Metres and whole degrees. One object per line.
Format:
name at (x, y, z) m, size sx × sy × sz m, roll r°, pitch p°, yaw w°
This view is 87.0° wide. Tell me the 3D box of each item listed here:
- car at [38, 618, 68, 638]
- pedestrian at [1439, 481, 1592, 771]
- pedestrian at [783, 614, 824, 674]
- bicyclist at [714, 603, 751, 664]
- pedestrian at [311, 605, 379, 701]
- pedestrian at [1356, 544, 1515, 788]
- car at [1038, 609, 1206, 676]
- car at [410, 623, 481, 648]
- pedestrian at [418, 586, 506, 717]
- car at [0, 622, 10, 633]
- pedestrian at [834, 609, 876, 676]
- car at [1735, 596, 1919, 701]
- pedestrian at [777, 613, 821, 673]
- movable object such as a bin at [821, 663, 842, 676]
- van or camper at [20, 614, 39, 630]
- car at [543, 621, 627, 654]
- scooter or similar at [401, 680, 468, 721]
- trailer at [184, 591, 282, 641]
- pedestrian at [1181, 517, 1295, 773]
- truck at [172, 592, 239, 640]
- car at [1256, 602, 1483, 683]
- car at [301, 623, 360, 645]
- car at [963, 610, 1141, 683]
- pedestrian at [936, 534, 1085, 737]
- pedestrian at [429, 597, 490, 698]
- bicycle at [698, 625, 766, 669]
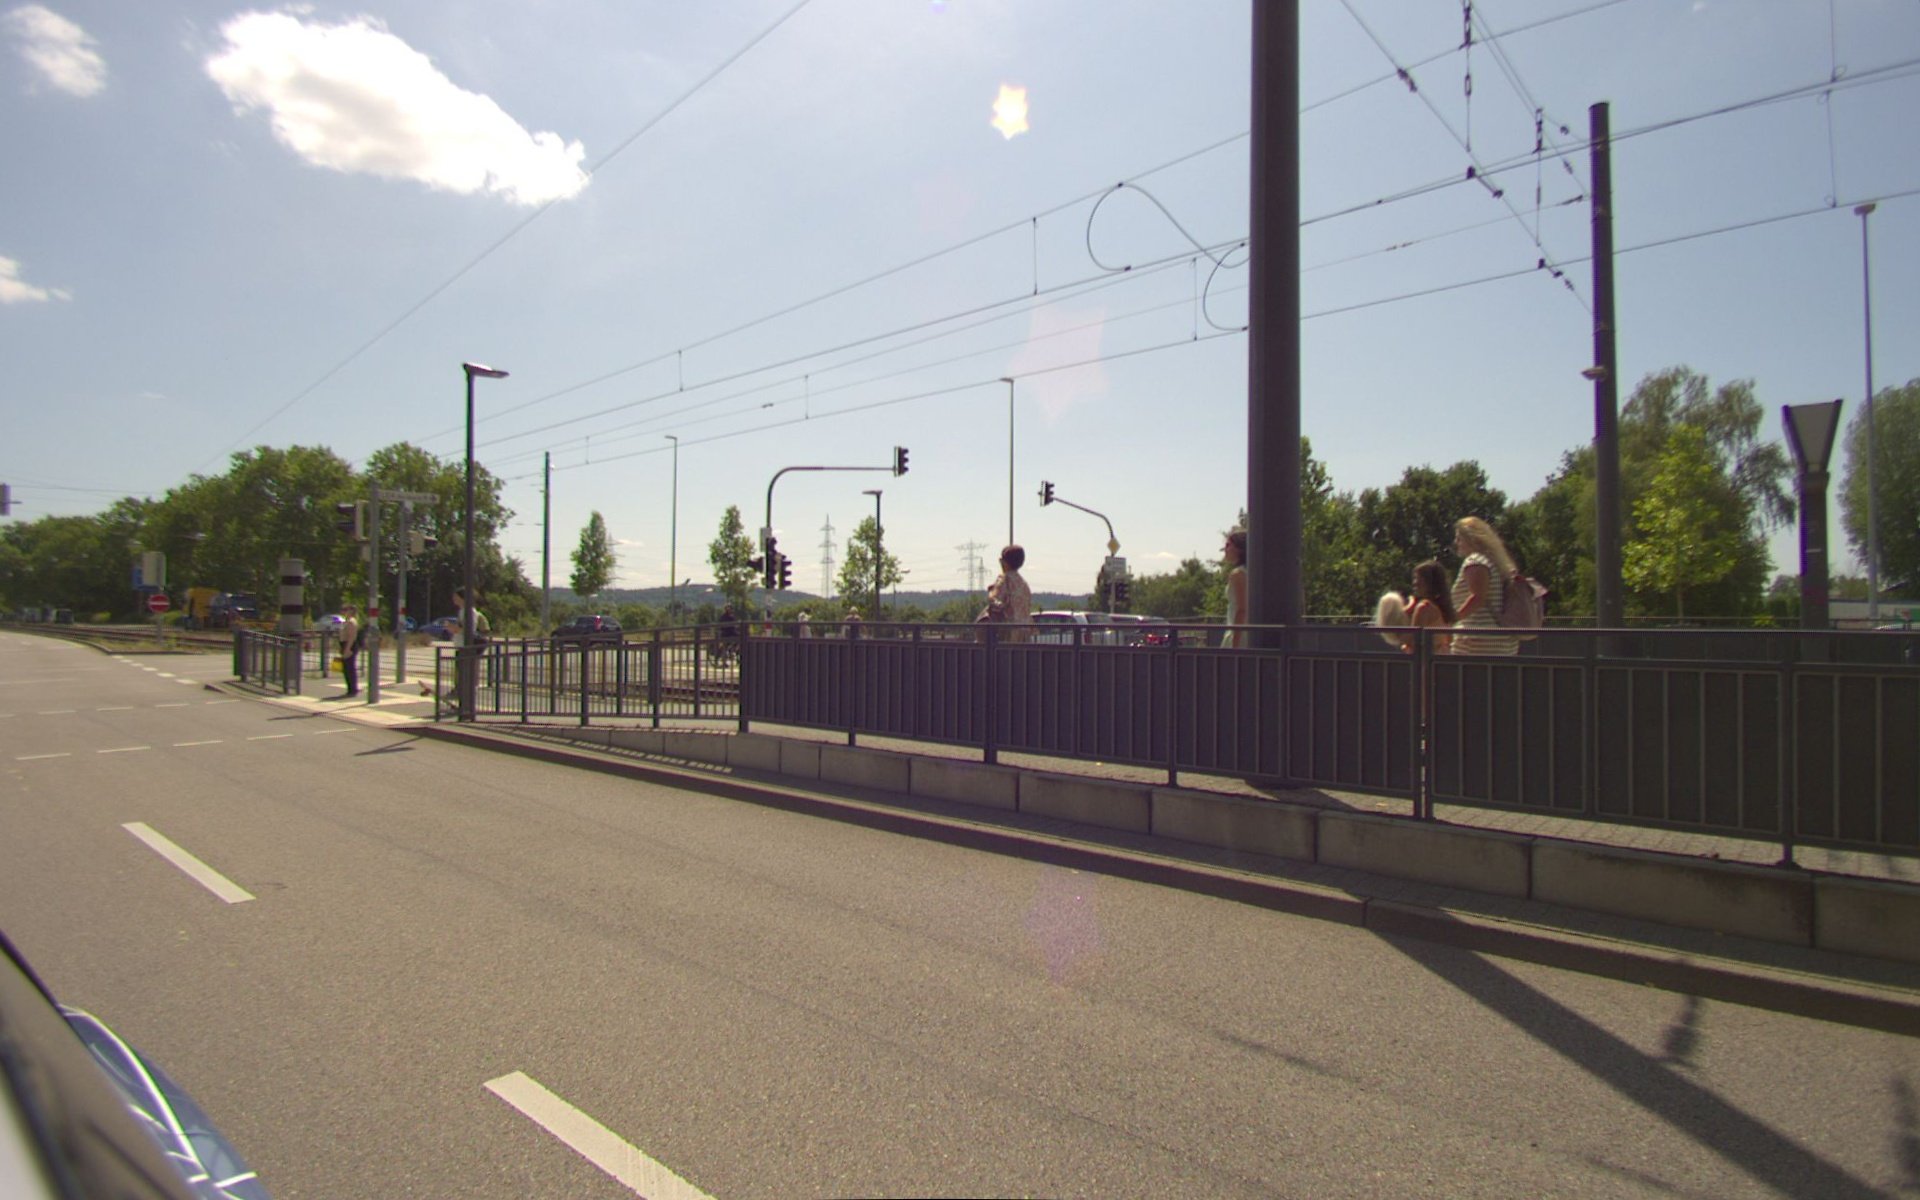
car at (-107.063, 3.324, 119.451) m, size 4.431 × 1.852 × 1.972 m, roll -10°, pitch -12°, yaw 41°
pedestrian at (3.497, 0.155, 6.372) m, size 0.719 × 1.694 × 0.607 m, roll -1°, pitch -1°, yaw 40°
pedestrian at (-4.122, 1.147, 26.607) m, size 0.763 × 1.560 × 0.754 m, roll -2°, pitch -2°, yaw 40°
bicyclist at (-6.199, 0.900, 27.563) m, size 0.729 × 1.627 × 0.660 m, roll -1°, pitch -1°, yaw 26°
pedestrian at (-10.487, 0.883, 17.264) m, size 0.764 × 1.584 × 0.777 m, roll -1°, pitch -1°, yaw 39°
pedestrian at (2.859, 0.372, 6.090) m, size 0.719 × 1.355 × 0.607 m, roll -1°, pitch -1°, yaw 40°
car at (4.251, 1.081, 26.922) m, size 4.000 × 1.641 × 1.972 m, roll -2°, pitch -2°, yaw 43°
car at (-30.653, 2.096, 60.302) m, size 4.339 × 1.456 × 1.977 m, roll -1°, pitch -2°, yaw 35°
pedestrian at (-7.208, 0.718, 14.641) m, size 0.882 × 1.816 × 0.854 m, roll -1°, pitch -1°, yaw 38°
car at (-155.843, 4.450, 164.152) m, size 4.259 × 1.649 × 1.974 m, roll -1°, pitch -4°, yaw 38°
pedestrian at (-2.689, 1.073, 25.955) m, size 0.763 × 1.685 × 0.754 m, roll -2°, pitch -2°, yaw 40°
car at (15.405, 0.759, 16.692) m, size 4.000 × 1.641 × 1.972 m, roll -1°, pitch -1°, yaw 43°
pedestrian at (-4.442, 1.171, 27.953) m, size 0.763 × 1.622 × 0.947 m, roll -2°, pitch -2°, yaw 39°
movable object such as a bin at (-3.322, 1.794, 26.162) m, size 0.229 × 0.323 × 0.565 m, roll -1°, pitch -2°, yaw 38°
van or camper at (-150.457, 3.532, 163.615) m, size 5.847 × 2.606 × 1.971 m, roll -1°, pitch -3°, yaw 45°
car at (-19.834, 1.968, 53.555) m, size 4.294 × 1.642 × 1.979 m, roll -1°, pitch -1°, yaw 32°
scooter or similar at (-7.355, 1.397, 14.174) m, size 0.457 × 0.509 × 0.719 m, roll -2°, pitch -2°, yaw 39°
trailer at (-61.709, 1.403, 85.656) m, size 15.470 × 3.900 × 3.083 m, roll -1°, pitch -2°, yaw 40°
pedestrian at (1.832, 0.284, 6.667) m, size 0.556 × 1.590 × 0.492 m, roll -2°, pitch -2°, yaw 40°
truck at (-67.434, 1.447, 90.424) m, size 7.467 × 4.069 × 3.095 m, roll -1°, pitch -1°, yaw 39°
car at (9.065, 0.915, 22.609) m, size 4.281 × 1.641 × 1.972 m, roll -2°, pitch -2°, yaw 43°
car at (-44.030, 2.341, 70.774) m, size 4.266 × 1.474 × 1.977 m, roll -1°, pitch -2°, yaw 34°
car at (2.214, 1.086, 24.887) m, size 4.000 × 1.641 × 1.972 m, roll -1°, pitch -1°, yaw 43°
pedestrian at (0.437, 0.296, 8.708) m, size 0.923 × 1.617 × 0.881 m, roll -2°, pitch -2°, yaw 41°
pedestrian at (-8.577, 0.802, 17.353) m, size 0.678 × 1.685 × 0.725 m, roll -1°, pitch -1°, yaw 39°
bicycle at (-6.180, 1.268, 27.539) m, size 0.760 × 1.109 × 1.960 m, roll -1°, pitch -1°, yaw 26°
